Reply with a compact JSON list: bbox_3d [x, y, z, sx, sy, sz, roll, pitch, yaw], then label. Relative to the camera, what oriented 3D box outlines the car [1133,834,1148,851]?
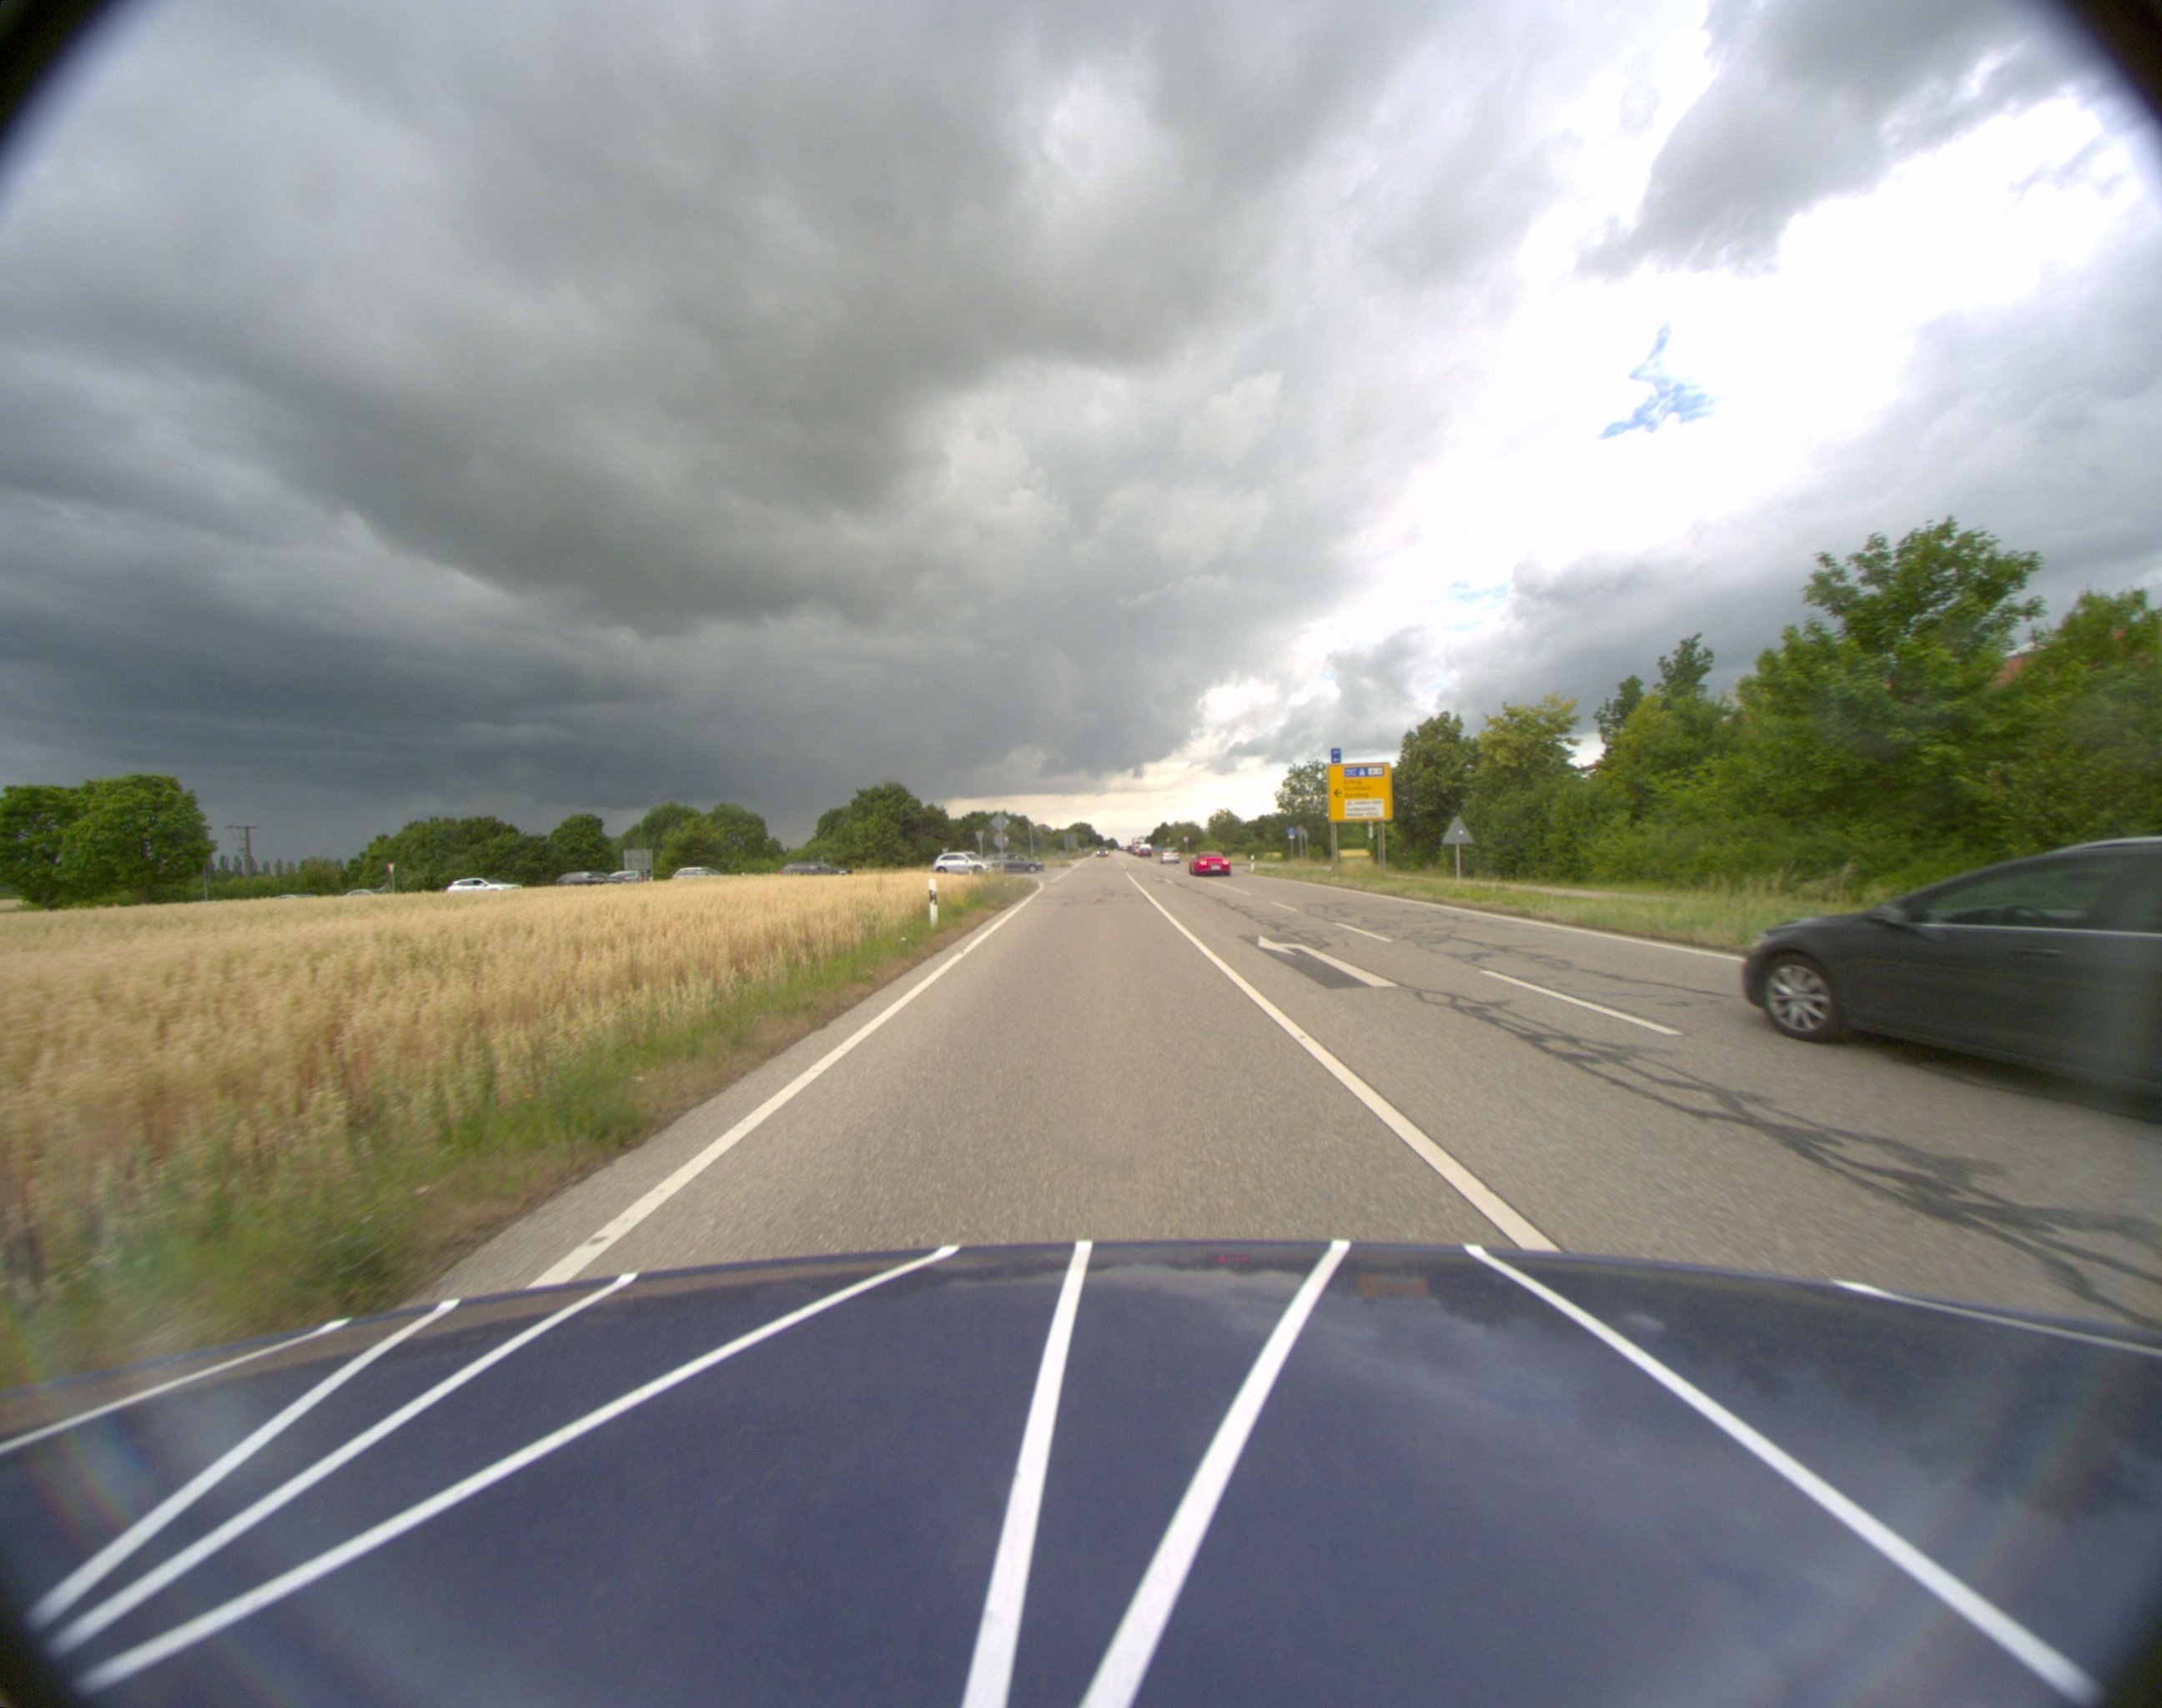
[{"bbox_3d":[11.047,-2.072,141.531,2.339,3.011,6.559,0,0,2],"label":"car"}]

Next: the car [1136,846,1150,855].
[{"bbox_3d":[10.710,-0.591,131.346,1.998,1.614,4.261,0,0,1],"label":"car"}]

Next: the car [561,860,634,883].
[{"bbox_3d":[-34.654,1.250,54.485,4.209,1.346,1.722,-2,2,6],"label":"car"}]

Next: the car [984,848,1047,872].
[{"bbox_3d":[-4.448,0.398,51.654,4.115,1.439,1.717,-2,2,-5],"label":"car"}]

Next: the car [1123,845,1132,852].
[{"bbox_3d":[12.640,-1.532,208.063,2.339,1.910,4.876,-2,0,2],"label":"car"}]

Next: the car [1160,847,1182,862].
[{"bbox_3d":[8.631,0.011,73.247,1.734,1.423,3.935,0,0,1],"label":"car"}]

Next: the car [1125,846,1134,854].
[{"bbox_3d":[10.334,-0.841,161.432,1.847,1.516,4.000,-2,0,2],"label":"car"}]

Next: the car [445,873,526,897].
[{"bbox_3d":[-43.052,2.223,55.009,4.633,1.486,1.722,-2,3,6],"label":"car"}]

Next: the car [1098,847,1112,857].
[{"bbox_3d":[3.727,-0.337,118.237,1.998,1.474,4.000,-2,1,2],"label":"car"}]

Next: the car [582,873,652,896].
[{"bbox_3d":[-35.330,2.301,57.910,4.287,1.648,1.754,-1,0,1],"label":"car"}]

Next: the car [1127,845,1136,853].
[{"bbox_3d":[11.508,-1.064,174.054,1.856,1.739,4.000,-2,0,2],"label":"car"}]

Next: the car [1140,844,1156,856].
[{"bbox_3d":[10.770,-0.590,122.234,2.111,1.875,5.391,-1,0,2],"label":"car"}]

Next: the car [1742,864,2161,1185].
[{"bbox_3d":[5.814,0.806,3.608,1.673,1.421,4.303,0,1,1],"label":"car"}]

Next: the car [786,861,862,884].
[{"bbox_3d":[-17.862,1.306,52.847,4.688,1.346,1.722,-2,3,8],"label":"car"}]

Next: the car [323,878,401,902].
[{"bbox_3d":[-52.776,2.611,55.817,4.209,1.486,1.722,-2,3,6],"label":"car"}]

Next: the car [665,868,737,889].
[{"bbox_3d":[-26.937,1.719,53.940,4.209,1.345,1.723,-2,0,6],"label":"car"}]

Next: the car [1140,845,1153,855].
[{"bbox_3d":[9.639,-0.632,111.837,1.676,1.393,4.090,-1,0,2],"label":"car"}]

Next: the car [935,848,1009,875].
[{"bbox_3d":[-7.027,0.488,48.737,4.382,1.578,2.000,-1,3,33],"label":"car"}]

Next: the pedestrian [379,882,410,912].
[{"bbox_3d":[-38.398,2.407,42.509,0.945,1.602,0.773,-2,0,-12],"label":"pedestrian"}]

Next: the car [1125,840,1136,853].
[{"bbox_3d":[12.226,-1.741,187.361,2.339,3.011,6.558,-2,0,1],"label":"car"}]

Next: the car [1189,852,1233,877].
[{"bbox_3d":[6.981,0.511,41.160,1.775,1.234,4.212,-1,0,2],"label":"car"}]
